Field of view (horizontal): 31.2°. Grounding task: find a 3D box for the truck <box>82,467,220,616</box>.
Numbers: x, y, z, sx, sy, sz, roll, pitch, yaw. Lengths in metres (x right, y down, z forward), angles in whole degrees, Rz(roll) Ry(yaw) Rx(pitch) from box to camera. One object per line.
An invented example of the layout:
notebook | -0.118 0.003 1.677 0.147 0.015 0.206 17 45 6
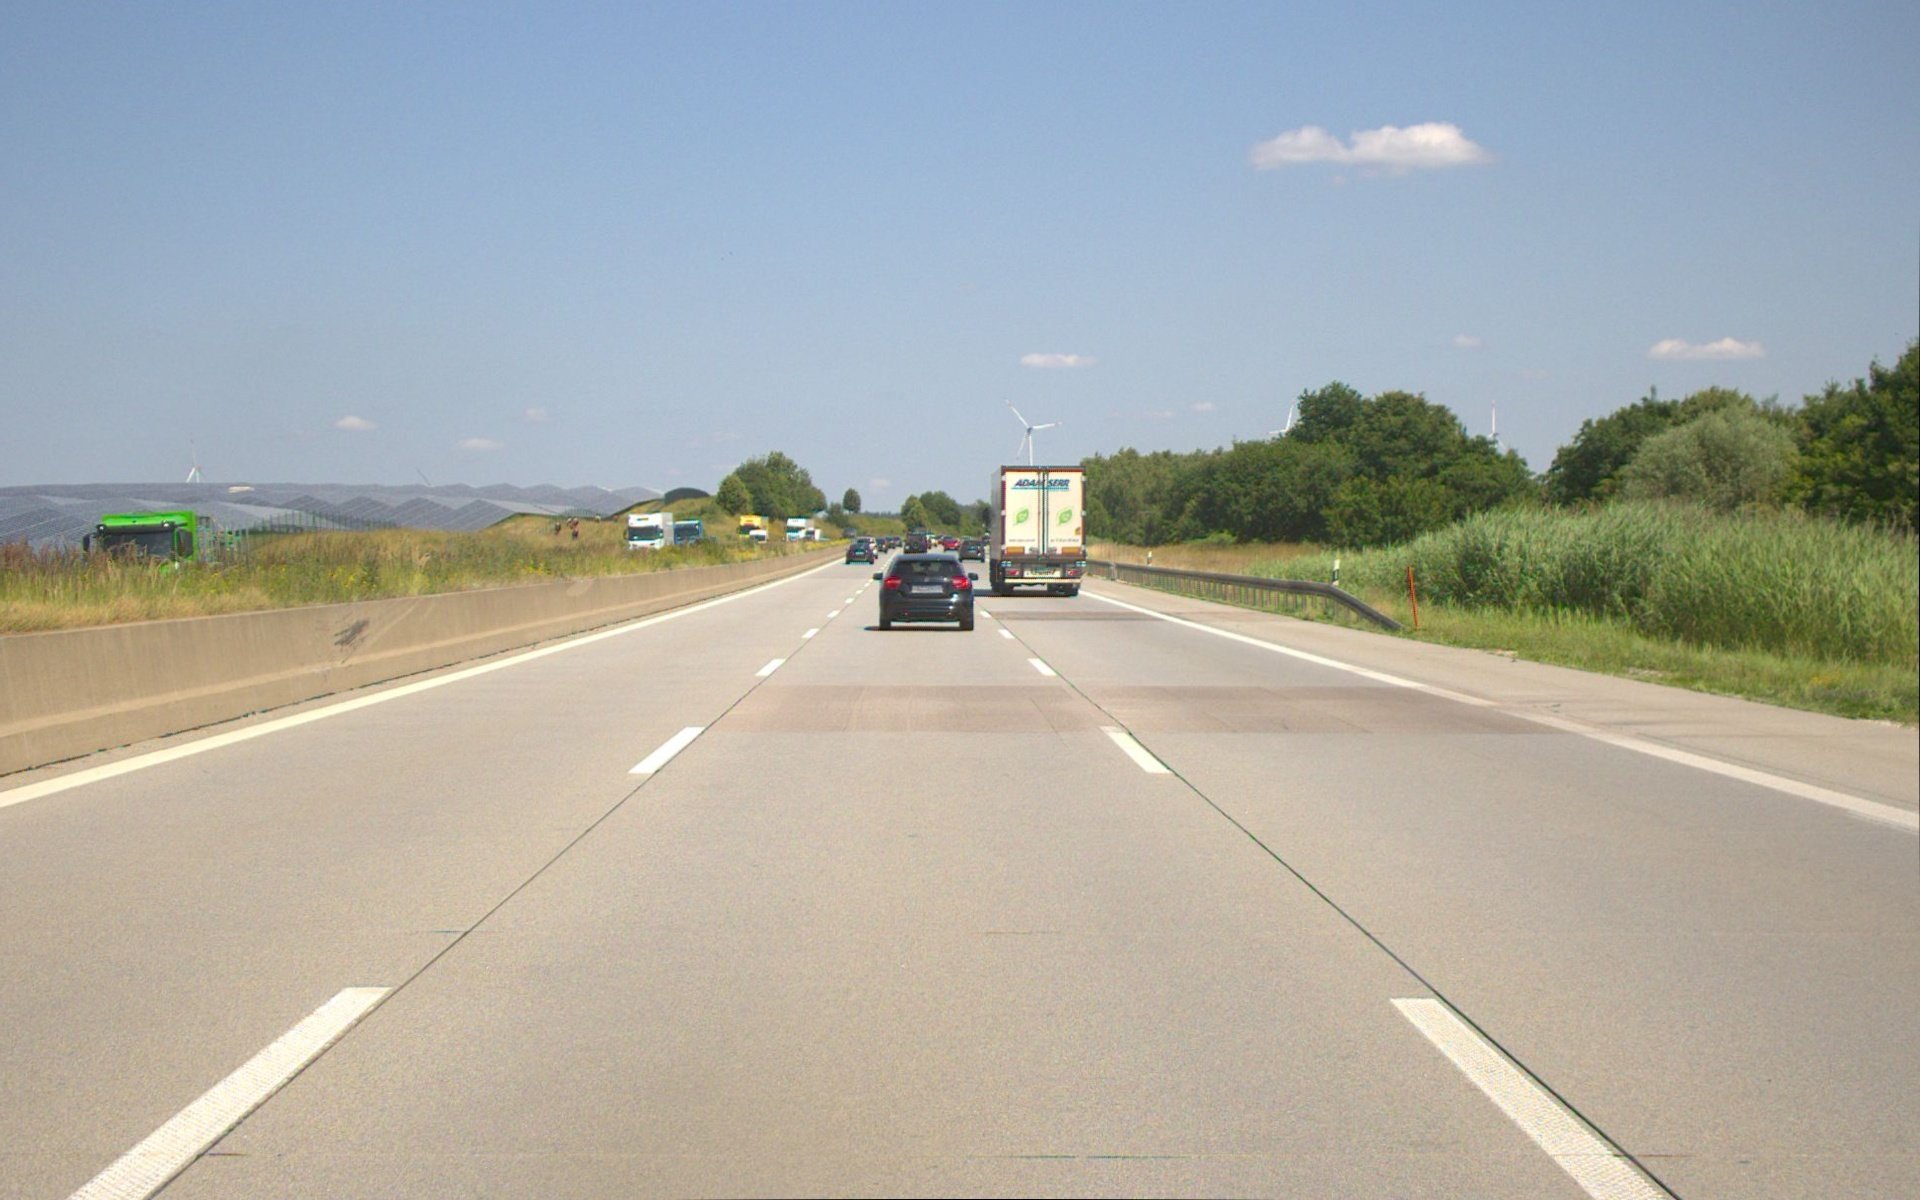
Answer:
truck | -22.146 -1.600 94.289 2.745 3.937 4.353 1 1 0

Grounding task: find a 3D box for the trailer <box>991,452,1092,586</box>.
trailer | 2.530 -2.572 110.819 2.852 4.029 12.714 1 1 0

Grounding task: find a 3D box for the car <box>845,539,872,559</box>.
car | -6.646 -3.373 225.717 1.655 1.192 3.960 3 1 -1

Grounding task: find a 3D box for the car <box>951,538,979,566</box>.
car | 0.342 -3.355 241.354 1.827 1.900 4.000 1 1 1

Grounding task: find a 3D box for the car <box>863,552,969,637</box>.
car | -0.846 -0.135 65.101 1.910 1.487 4.192 1 1 -1

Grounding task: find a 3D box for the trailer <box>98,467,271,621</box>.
trailer | -22.157 -1.630 98.820 2.732 4.177 10.257 0 1 0
